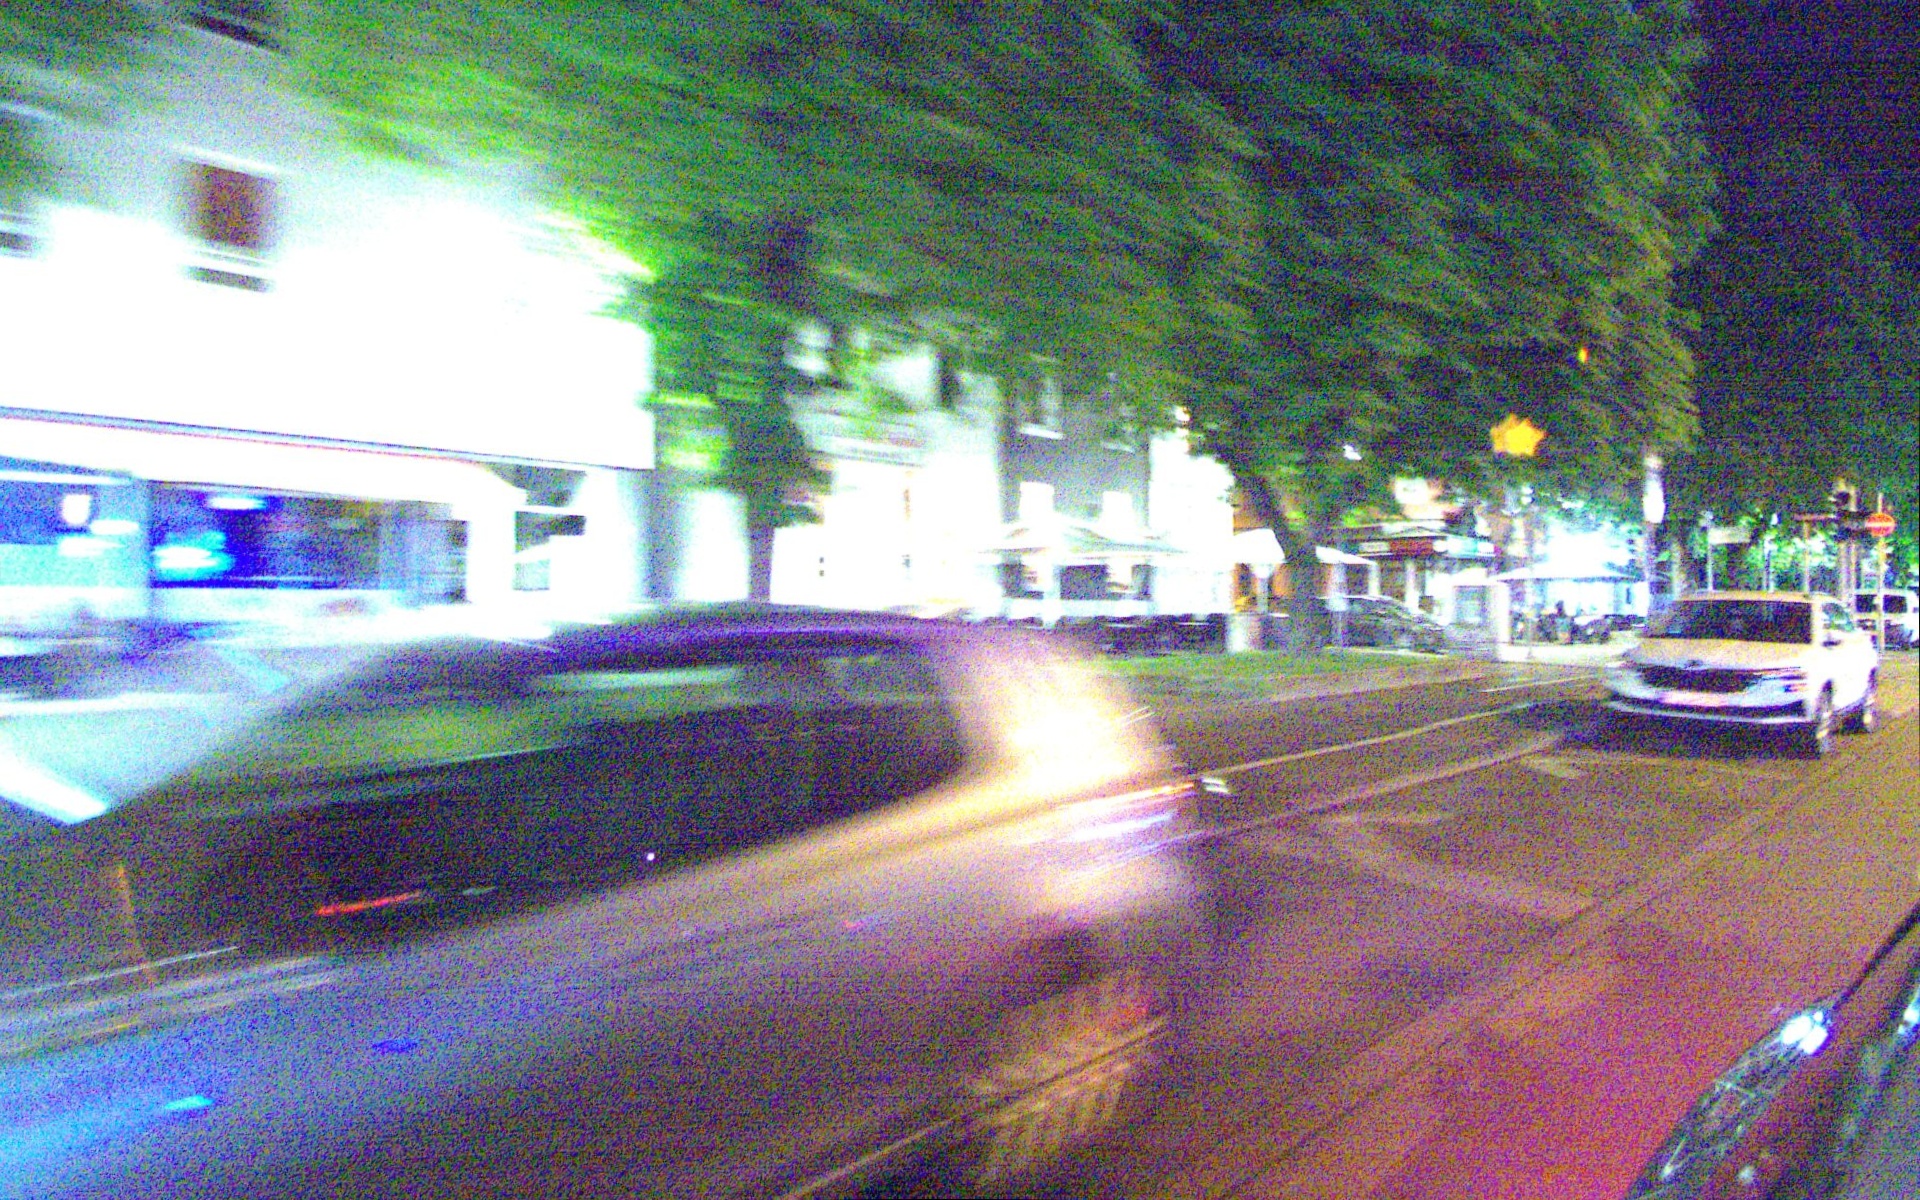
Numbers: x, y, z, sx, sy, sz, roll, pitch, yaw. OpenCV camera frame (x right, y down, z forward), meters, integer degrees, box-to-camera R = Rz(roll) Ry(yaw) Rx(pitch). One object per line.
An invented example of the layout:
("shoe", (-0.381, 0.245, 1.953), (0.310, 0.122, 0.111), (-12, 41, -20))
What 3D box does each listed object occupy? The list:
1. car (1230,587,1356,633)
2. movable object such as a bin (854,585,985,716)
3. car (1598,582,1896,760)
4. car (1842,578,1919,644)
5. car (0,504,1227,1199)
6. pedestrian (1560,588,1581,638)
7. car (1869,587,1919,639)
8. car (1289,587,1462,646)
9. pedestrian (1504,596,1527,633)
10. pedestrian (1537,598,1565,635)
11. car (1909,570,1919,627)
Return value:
("car", (12.402, 0.363, 37.847), (1.772, 1.569, 4.150), (2, 0, -41))
("movable object such as a bin", (-0.472, 0.542, 11.539), (0.976, 1.388, 1.162), (0, -1, -42))
("car", (8.716, 0.619, 11.078), (4.142, 1.556, 1.774), (0, 2, -41))
("car", (28.008, 0.301, 30.391), (4.501, 1.845, 1.791), (0, 0, -42))
("car", (-1.275, 0.645, 2.257), (3.945, 1.556, 1.693), (0, 1, -41))
("pedestrian", (19.758, 0.408, 32.761), (0.364, 1.608, 0.482), (0, 0, -5))
("car", (32.339, 0.418, 34.489), (4.225, 1.680, 1.686), (0, 0, -43))
("car", (11.932, 0.406, 29.297), (1.772, 1.550, 4.322), (-2, 2, -41))
("pedestrian", (19.545, 0.516, 35.610), (0.518, 1.280, 0.503), (0, 0, -13))
("pedestrian", (20.788, 0.576, 35.587), (0.518, 1.280, 0.685), (0, 0, -13))
("car", (41.489, -0.068, 42.624), (2.134, 2.356, 5.070), (0, 0, 44))
